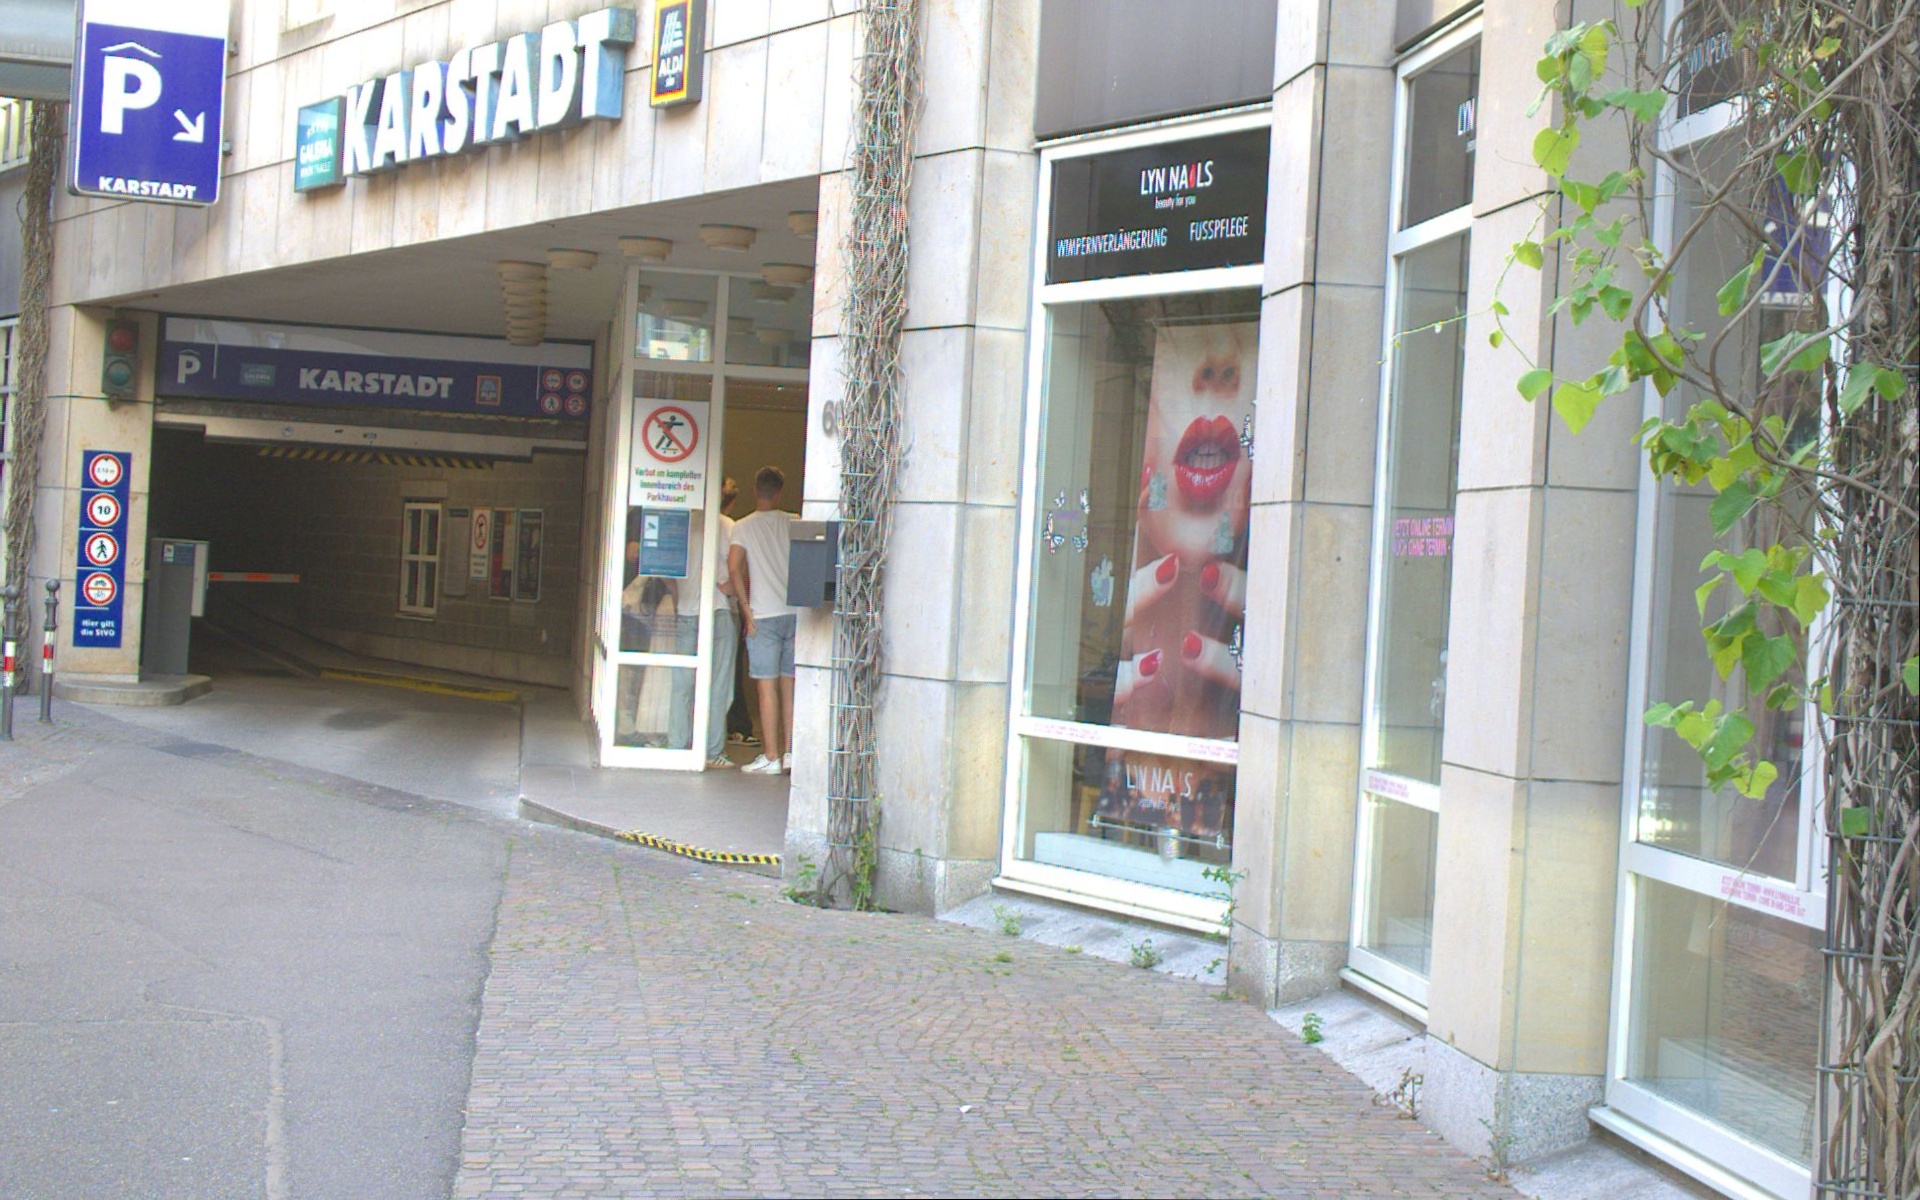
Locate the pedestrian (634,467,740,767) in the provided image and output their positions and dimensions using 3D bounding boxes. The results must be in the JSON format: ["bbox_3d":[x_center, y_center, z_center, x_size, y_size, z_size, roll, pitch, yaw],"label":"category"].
[{"bbox_3d":[-1.710,0.100,21.555,0.542,1.840,0.408,3,1,-1],"label":"pedestrian"}]

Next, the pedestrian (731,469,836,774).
[{"bbox_3d":[-1.097,0.130,21.389,0.542,1.855,0.408,3,1,-1],"label":"pedestrian"}]
